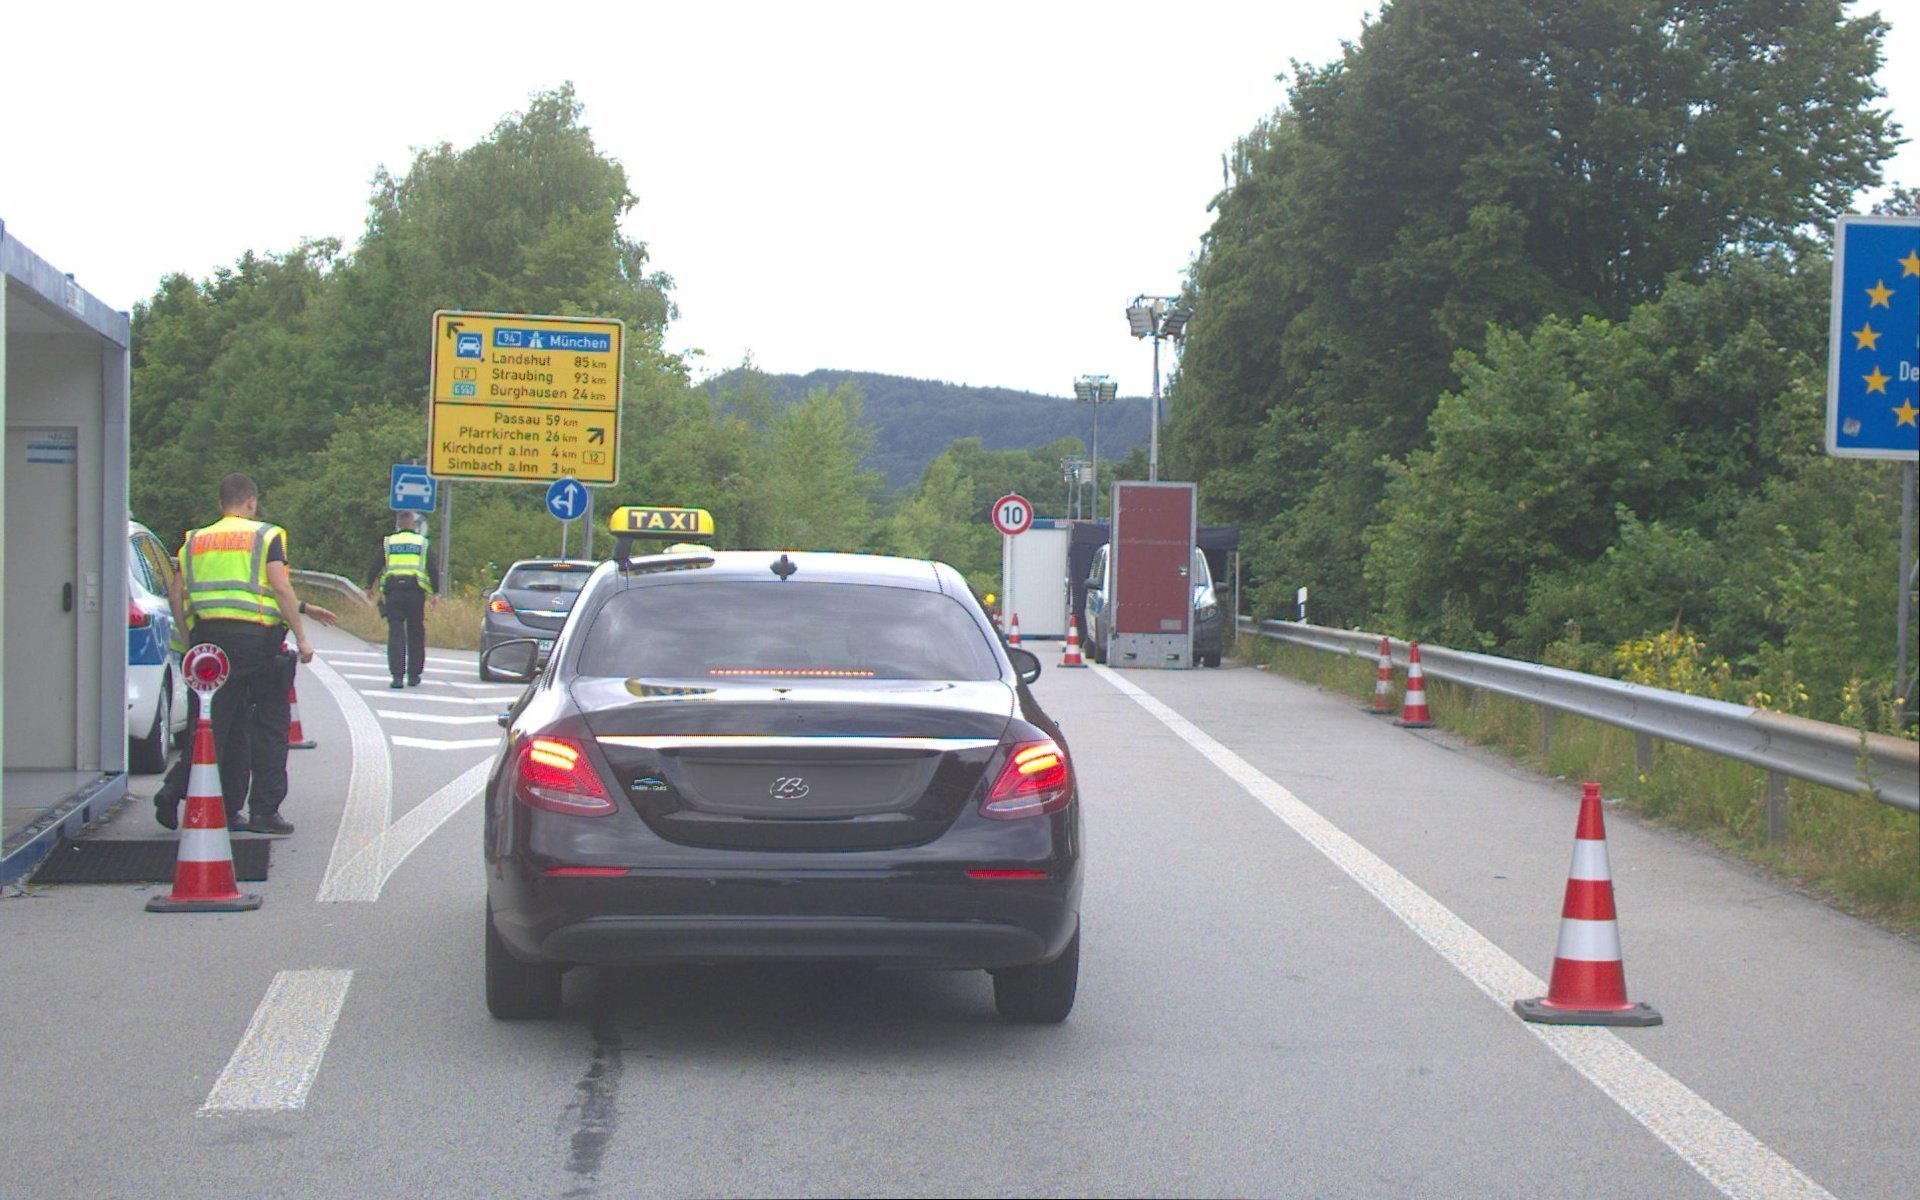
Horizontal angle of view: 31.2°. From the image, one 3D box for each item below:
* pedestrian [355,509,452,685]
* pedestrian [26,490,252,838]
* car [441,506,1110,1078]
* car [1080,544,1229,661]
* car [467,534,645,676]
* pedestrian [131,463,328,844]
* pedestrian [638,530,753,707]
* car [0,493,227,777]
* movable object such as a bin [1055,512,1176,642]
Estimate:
[{"bbox_3d":[-5.683,-0.039,35.090,0.908,1.763,0.914,1,1,-12],"label":"pedestrian"},{"bbox_3d":[-4.165,0.306,17.456,0.761,1.712,0.817,1,1,27],"label":"pedestrian"},{"bbox_3d":[-0.672,0.506,11.831,1.855,1.589,4.376,1,1,-4],"label":"car"},{"bbox_3d":[2.999,-0.003,54.049,1.916,1.672,5.083,3,1,-1],"label":"car"},{"bbox_3d":[-4.501,0.013,38.811,1.855,1.493,4.257,1,1,-5],"label":"car"},{"bbox_3d":[-3.579,0.253,16.895,0.812,1.824,0.809,0,1,-2],"label":"pedestrian"},{"bbox_3d":[-2.589,0.173,33.555,0.908,1.692,0.914,1,1,-18],"label":"pedestrian"},{"bbox_3d":[-6.100,0.176,23.132,1.868,1.737,4.009,1,1,-6],"label":"car"},{"bbox_3d":[2.808,-0.444,62.886,1.993,2.272,4.168,1,1,0],"label":"movable object such as a bin"}]
